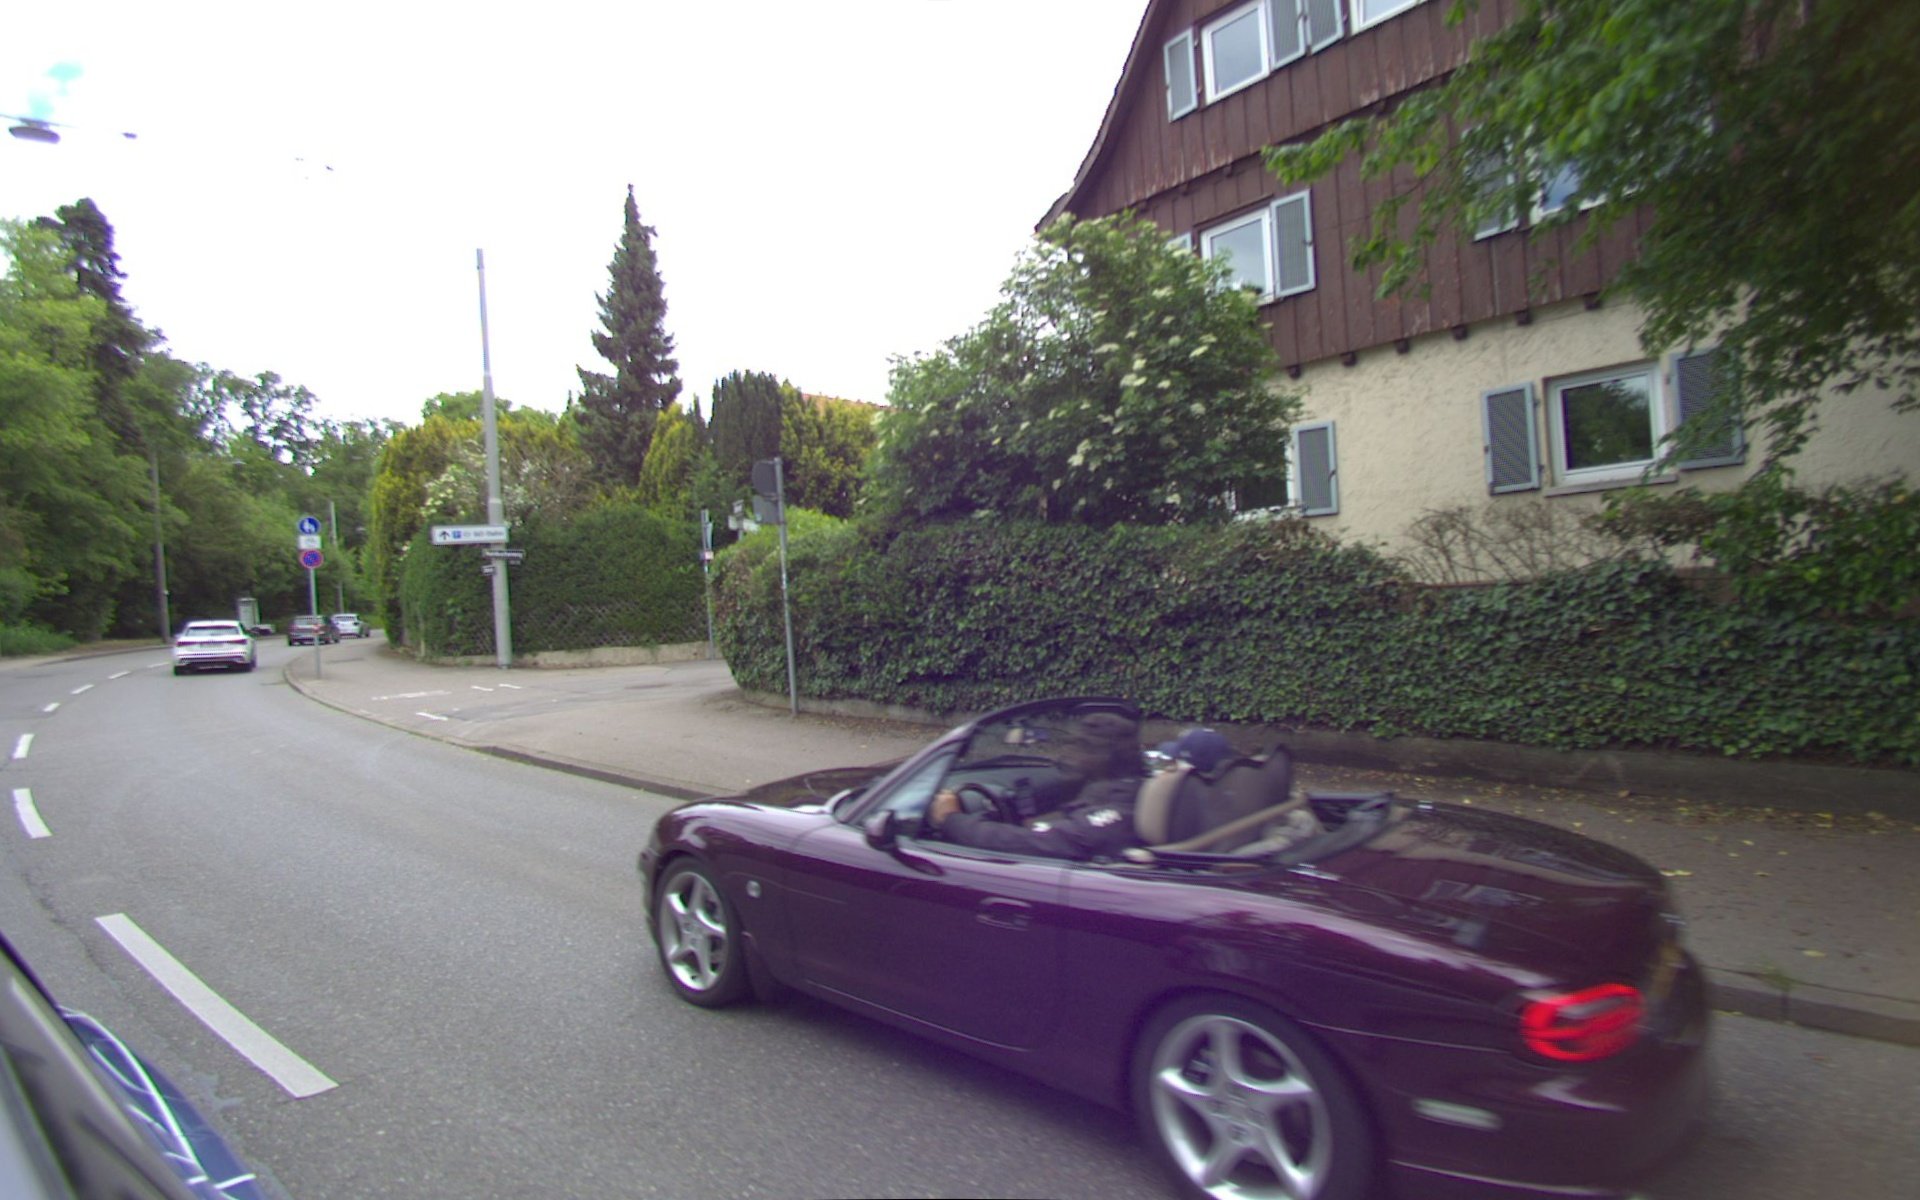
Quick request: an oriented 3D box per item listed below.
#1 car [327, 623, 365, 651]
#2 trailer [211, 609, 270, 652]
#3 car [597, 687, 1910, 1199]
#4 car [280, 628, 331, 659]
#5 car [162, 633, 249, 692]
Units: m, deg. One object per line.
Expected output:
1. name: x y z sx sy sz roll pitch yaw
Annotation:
1. car: -36.362 2.157 59.914 1.876 1.465 3.807 -1 0 -32
2. trailer: -51.639 2.145 72.690 3.073 2.921 1.598 -2 0 -20
3. car: 0.538 0.989 3.406 3.784 1.186 1.674 -2 -2 41
4. car: -31.962 2.078 49.401 1.888 1.409 3.918 -1 -1 -36
5. car: -21.366 1.717 28.794 1.783 1.454 4.209 0 -1 -34
